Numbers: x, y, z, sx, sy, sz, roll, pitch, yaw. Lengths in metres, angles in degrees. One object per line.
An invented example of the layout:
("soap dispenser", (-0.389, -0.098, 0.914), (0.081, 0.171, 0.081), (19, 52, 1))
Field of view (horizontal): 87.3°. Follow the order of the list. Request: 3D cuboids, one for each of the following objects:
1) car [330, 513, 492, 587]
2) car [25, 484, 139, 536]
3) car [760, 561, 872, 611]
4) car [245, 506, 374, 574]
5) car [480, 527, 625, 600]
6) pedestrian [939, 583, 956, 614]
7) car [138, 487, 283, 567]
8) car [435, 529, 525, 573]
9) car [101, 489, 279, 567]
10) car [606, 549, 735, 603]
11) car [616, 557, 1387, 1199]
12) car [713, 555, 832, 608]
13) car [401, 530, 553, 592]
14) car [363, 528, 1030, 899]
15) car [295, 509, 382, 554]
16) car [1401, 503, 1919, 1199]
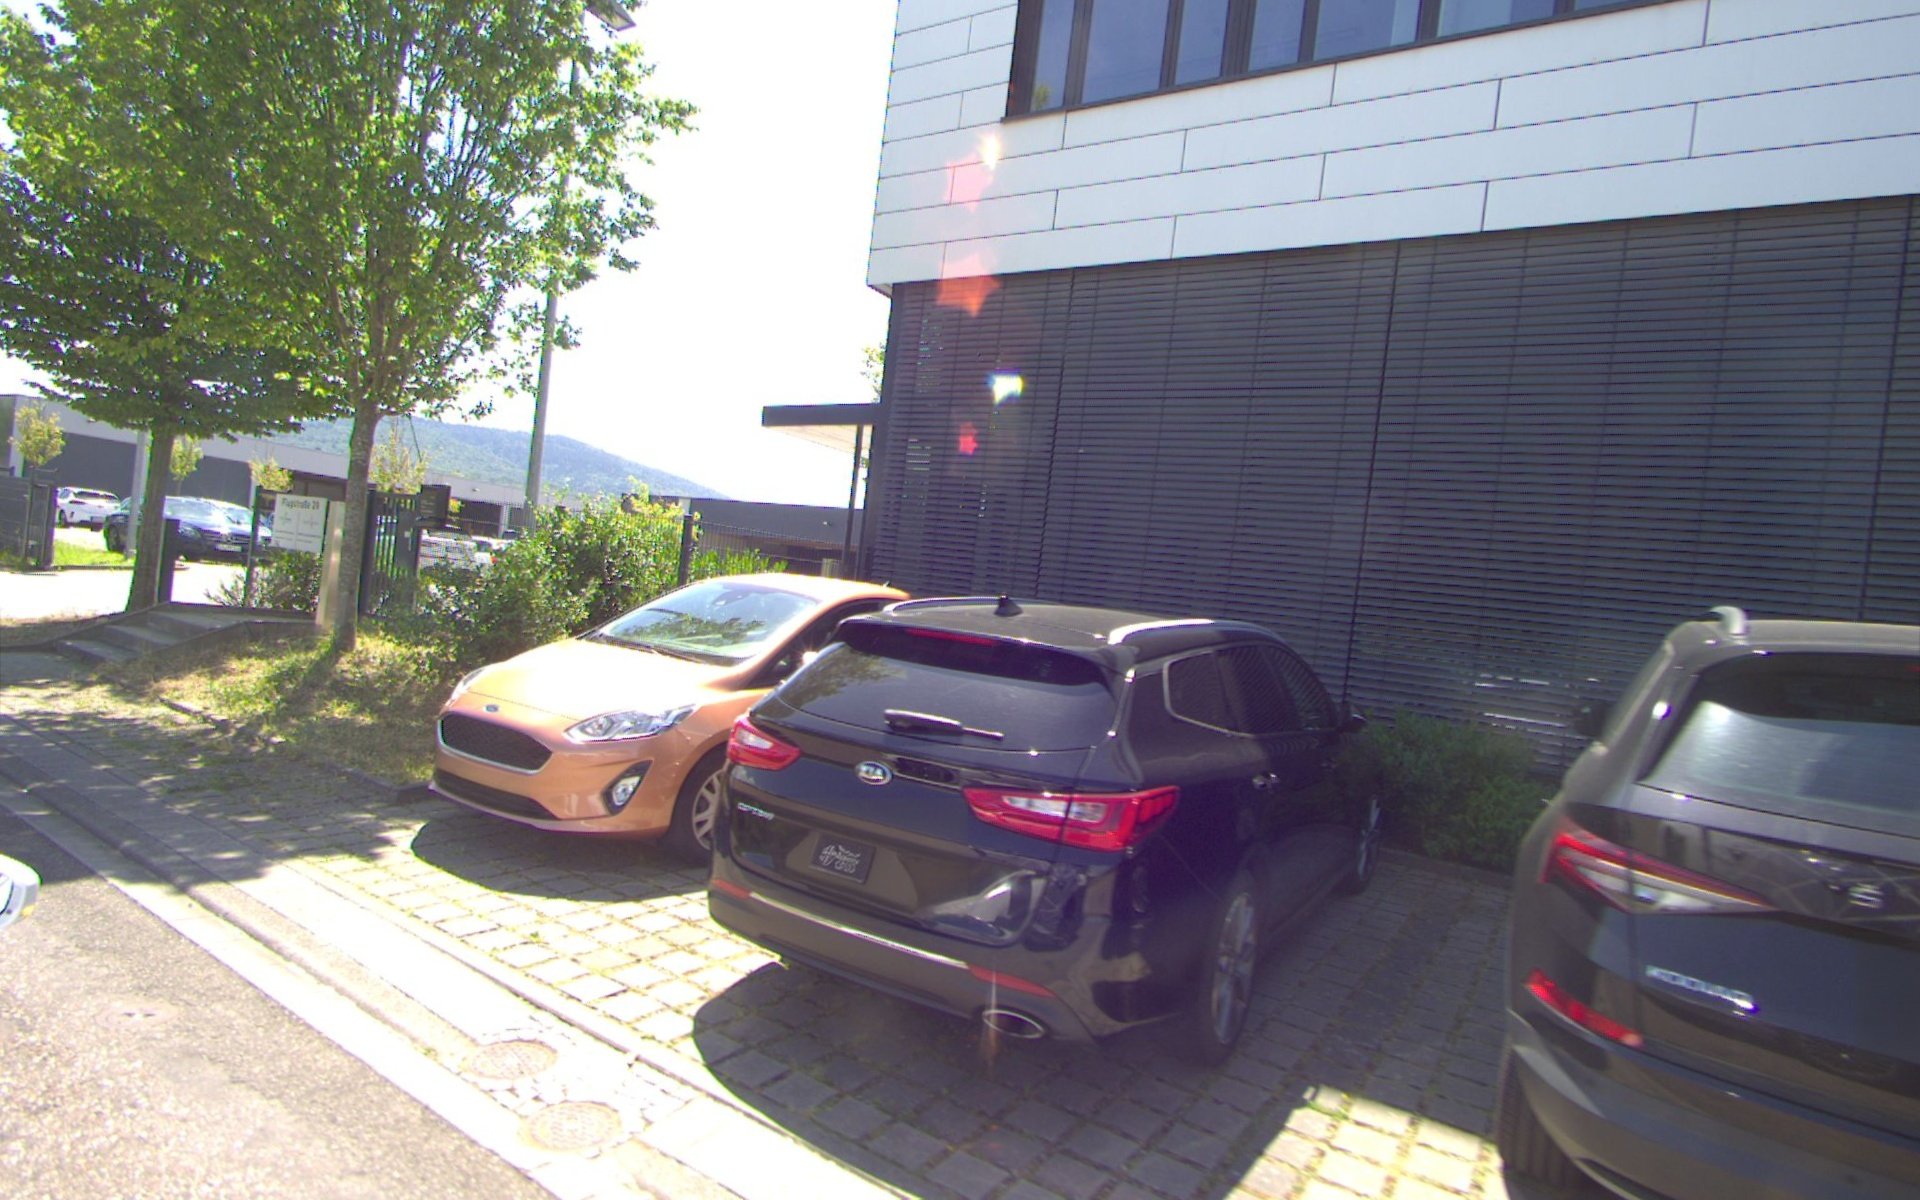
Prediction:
("car", (-15.260, -1.398, 27.916), (4.574, 1.674, 1.841), (5, 0, 32))
("car", (-30.346, -3.121, 34.738), (4.075, 1.450, 1.791), (5, 0, 32))
("car", (-6.183, -0.587, 42.976), (4.457, 1.736, 1.913), (5, 0, 32))
("car", (-19.861, -1.843, 30.675), (3.955, 1.511, 1.647), (9, 2, 31))
("car", (-13.037, -1.174, 32.128), (4.442, 1.923, 1.913), (5, 0, 32))
("pedestrian", (-0.722, -0.079, 57.559), (0.510, 1.679, 0.702), (7, 2, 39))
("car", (-21.227, -2.086, 28.461), (4.170, 1.644, 1.791), (9, 2, 31))
("car", (-22.379, -2.309, 46.841), (4.033, 1.703, 1.791), (5, 0, 32))
("car", (-17.974, -1.691, 23.434), (4.337, 1.473, 1.791), (5, 0, 32))
("car", (-10.532, -0.886, 36.508), (4.442, 1.552, 1.913), (5, 0, 32))
("car", (0.607, 0.762, 4.490), (1.753, 1.514, 3.713), (6, 1, 31))
("car", (-7.590, -0.747, 40.597), (4.457, 1.736, 1.913), (5, 0, 32))
("car", (-14.478, -1.184, 30.091), (4.574, 1.451, 1.841), (5, 0, 32))
("car", (-1.270, 0.531, 6.415), (1.696, 1.514, 3.989), (5, 1, 31))
("car", (-36.332, -4.027, 58.735), (5.564, 2.291, 1.882), (4, 0, 31))
("car", (2.874, 0.849, 3.298), (1.698, 1.788, 3.984), (7, 1, 36))
